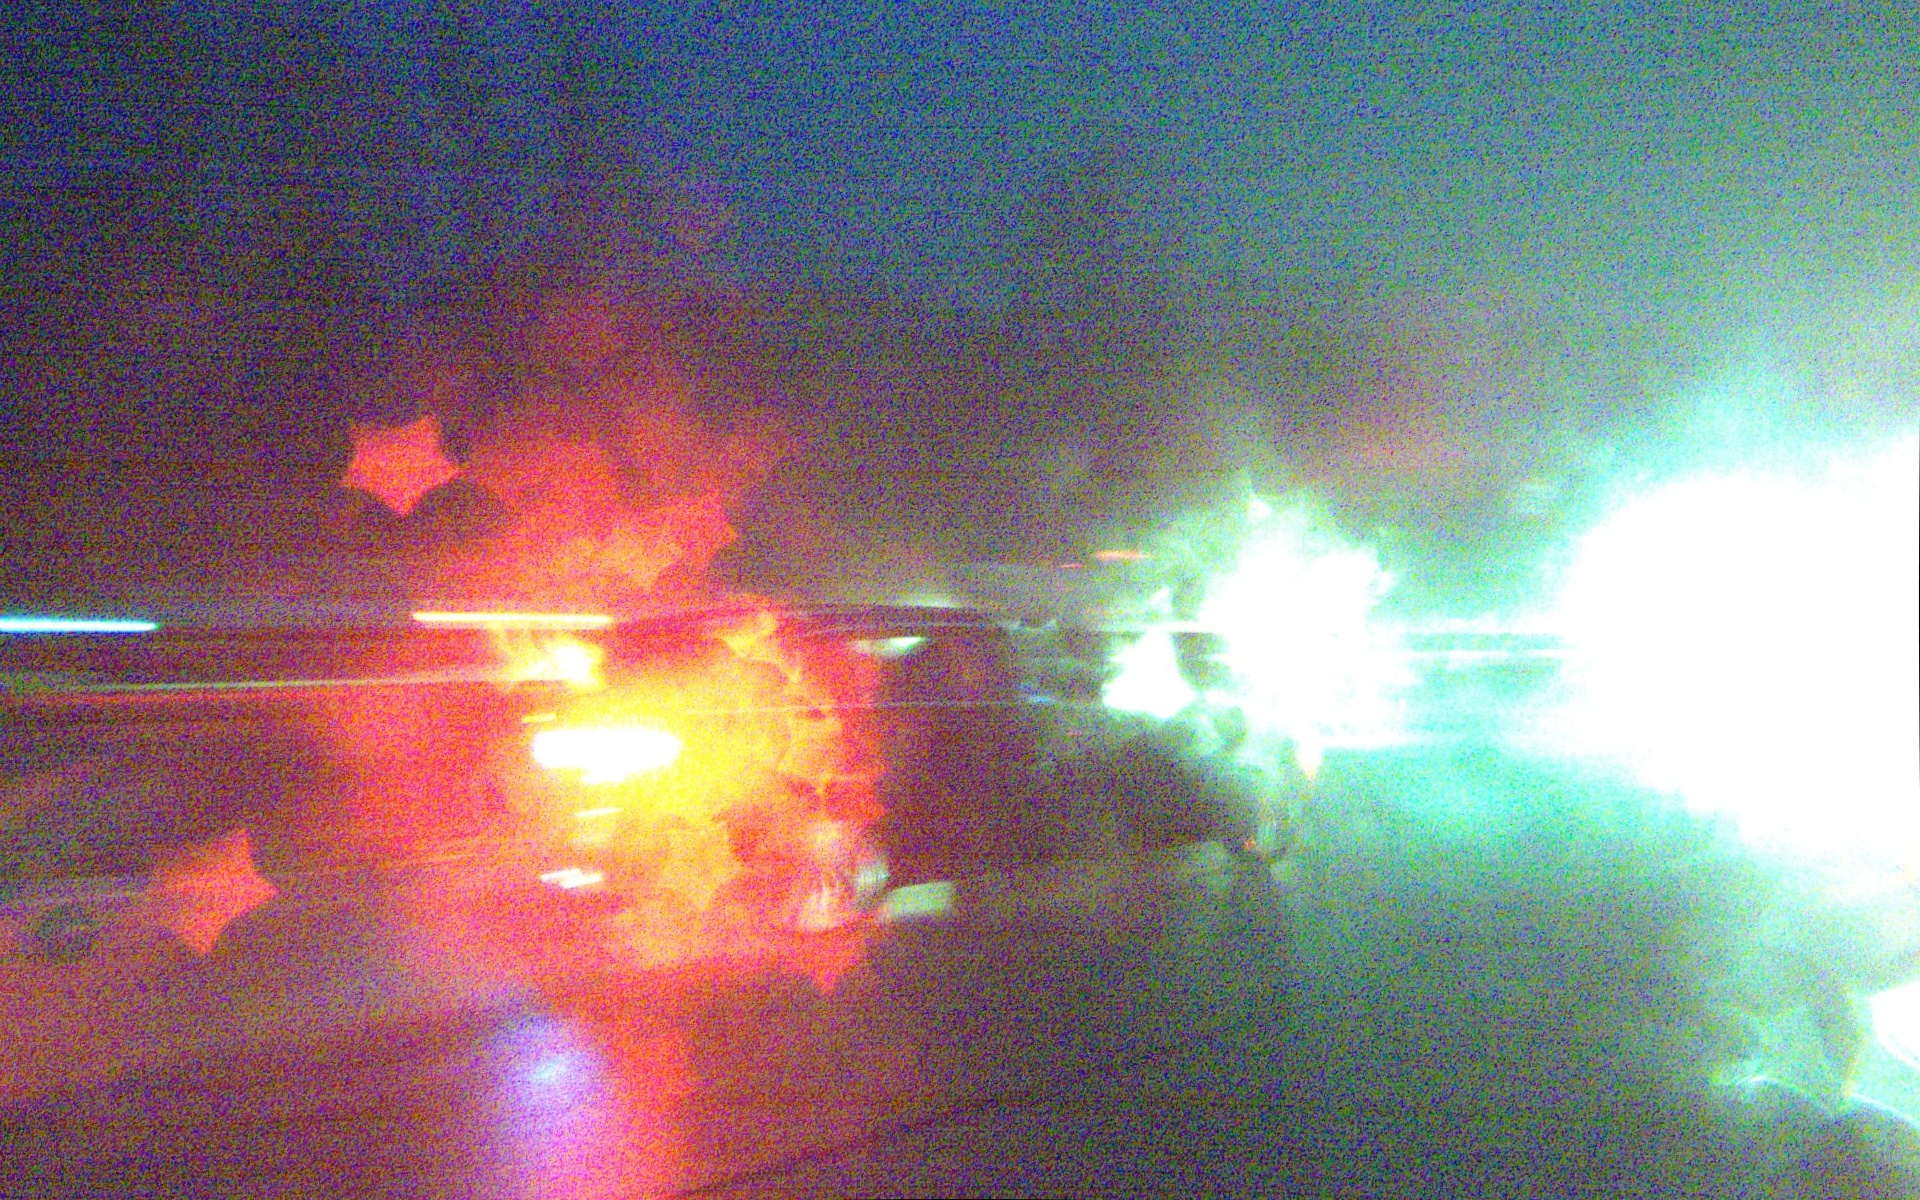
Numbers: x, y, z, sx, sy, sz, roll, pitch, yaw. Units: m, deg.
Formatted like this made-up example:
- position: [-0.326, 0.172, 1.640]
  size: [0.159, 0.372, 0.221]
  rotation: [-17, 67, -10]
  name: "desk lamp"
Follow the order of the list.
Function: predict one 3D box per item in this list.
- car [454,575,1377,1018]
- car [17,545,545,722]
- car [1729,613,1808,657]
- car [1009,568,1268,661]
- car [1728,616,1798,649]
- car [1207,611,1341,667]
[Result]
- position: [0.004, 0.716, 5.535]
  size: [4.860, 1.537, 1.758]
  rotation: [1, 0, -32]
  name: "car"
- position: [-6.847, 0.342, 10.634]
  size: [4.261, 1.528, 1.870]
  rotation: [2, 0, -34]
  name: "car"
- position: [34.016, 1.474, 42.272]
  size: [3.124, 1.746, 1.547]
  rotation: [1, 0, -30]
  name: "car"
- position: [3.915, 0.313, 21.673]
  size: [5.531, 1.792, 2.032]
  rotation: [1, 1, -31]
  name: "car"
- position: [44.171, 1.792, 55.237]
  size: [4.289, 1.669, 1.830]
  rotation: [2, 0, -34]
  name: "car"
- position: [9.313, 1.143, 29.712]
  size: [3.761, 1.515, 1.754]
  rotation: [2, 0, -32]
  name: "car"
